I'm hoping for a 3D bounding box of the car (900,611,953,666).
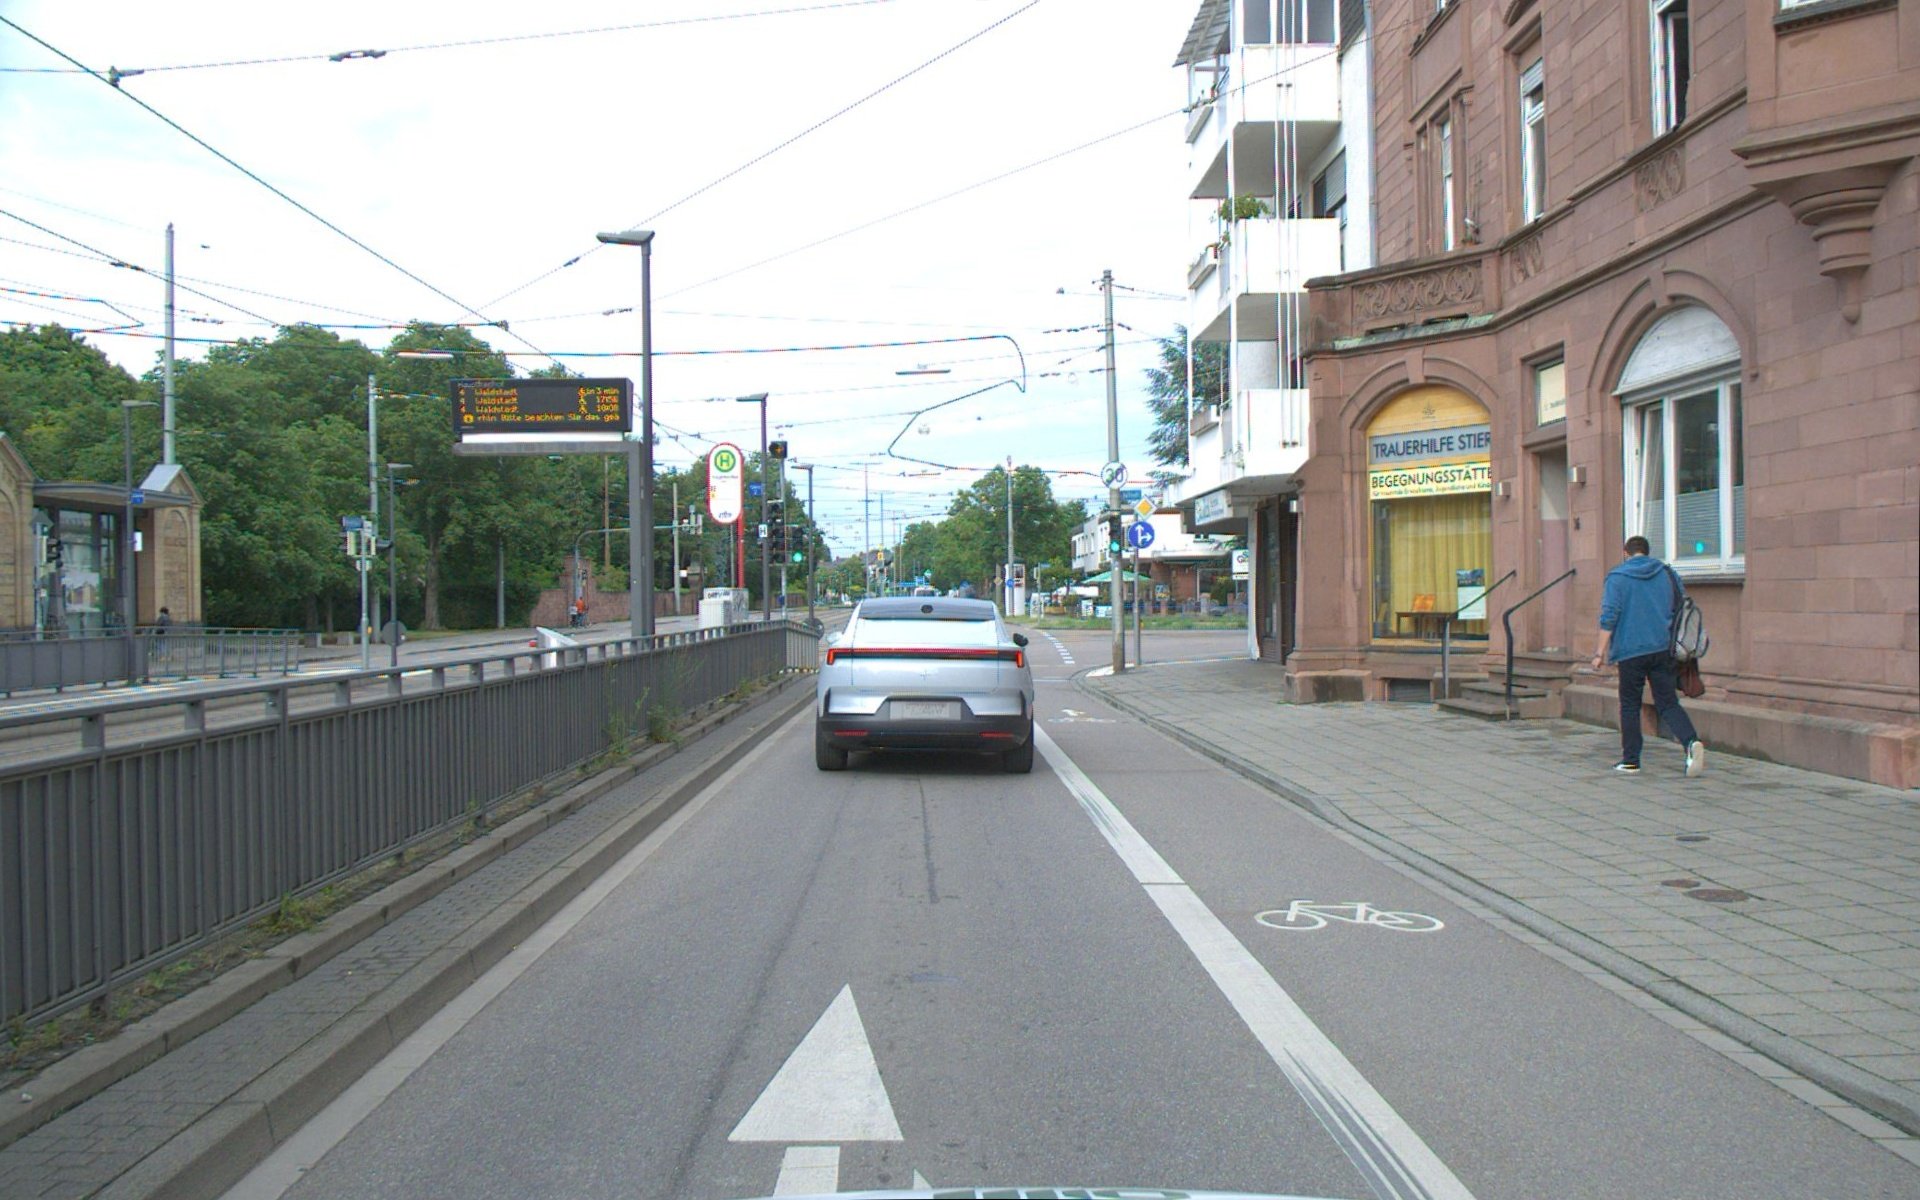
[{"bbox_3d":[-1.056,1.210,53.201,1.647,1.717,3.823,0,0,-1],"label":"car"}]

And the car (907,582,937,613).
[{"bbox_3d":[-3.107,-0.213,134.406,2.182,2.444,5.118,0,0,-5],"label":"car"}]

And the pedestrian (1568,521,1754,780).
[{"bbox_3d":[5.409,0.368,12.823,0.941,1.882,0.975,-3,1,-1],"label":"pedestrian"}]

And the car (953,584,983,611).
[{"bbox_3d":[0.741,-0.226,158.155,2.750,2.549,5.721,0,0,-1],"label":"car"}]

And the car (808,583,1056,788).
[{"bbox_3d":[-0.367,0.690,15.091,1.960,1.608,3.996,0,-1,-4],"label":"car"}]
